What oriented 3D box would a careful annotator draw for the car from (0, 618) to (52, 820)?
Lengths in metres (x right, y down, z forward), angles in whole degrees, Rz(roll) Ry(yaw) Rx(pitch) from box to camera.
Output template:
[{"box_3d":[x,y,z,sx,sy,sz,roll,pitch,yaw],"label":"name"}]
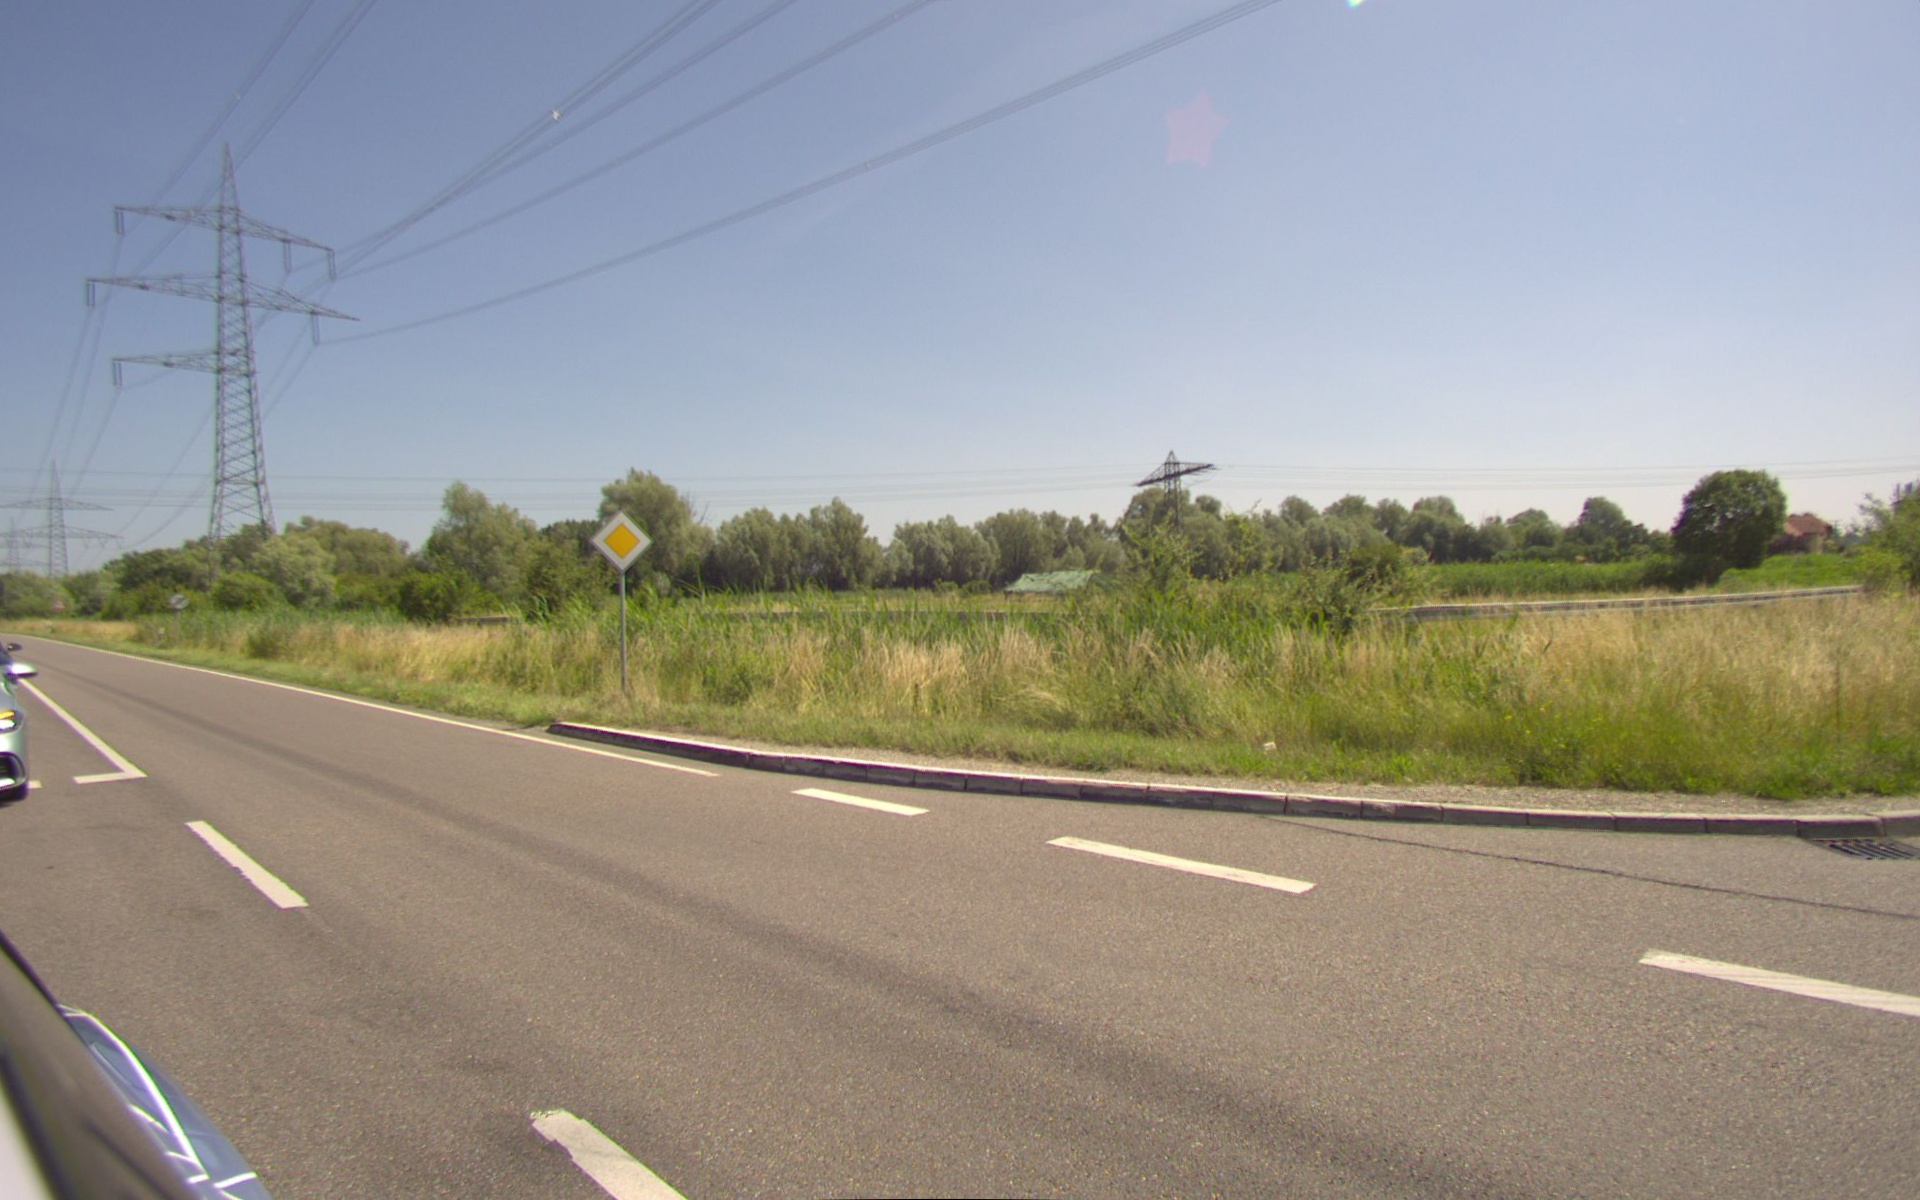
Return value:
[{"box_3d":[-9.012,0.885,8.380,4.469,1.457,1.971,-1,-1,45],"label":"car"}]
